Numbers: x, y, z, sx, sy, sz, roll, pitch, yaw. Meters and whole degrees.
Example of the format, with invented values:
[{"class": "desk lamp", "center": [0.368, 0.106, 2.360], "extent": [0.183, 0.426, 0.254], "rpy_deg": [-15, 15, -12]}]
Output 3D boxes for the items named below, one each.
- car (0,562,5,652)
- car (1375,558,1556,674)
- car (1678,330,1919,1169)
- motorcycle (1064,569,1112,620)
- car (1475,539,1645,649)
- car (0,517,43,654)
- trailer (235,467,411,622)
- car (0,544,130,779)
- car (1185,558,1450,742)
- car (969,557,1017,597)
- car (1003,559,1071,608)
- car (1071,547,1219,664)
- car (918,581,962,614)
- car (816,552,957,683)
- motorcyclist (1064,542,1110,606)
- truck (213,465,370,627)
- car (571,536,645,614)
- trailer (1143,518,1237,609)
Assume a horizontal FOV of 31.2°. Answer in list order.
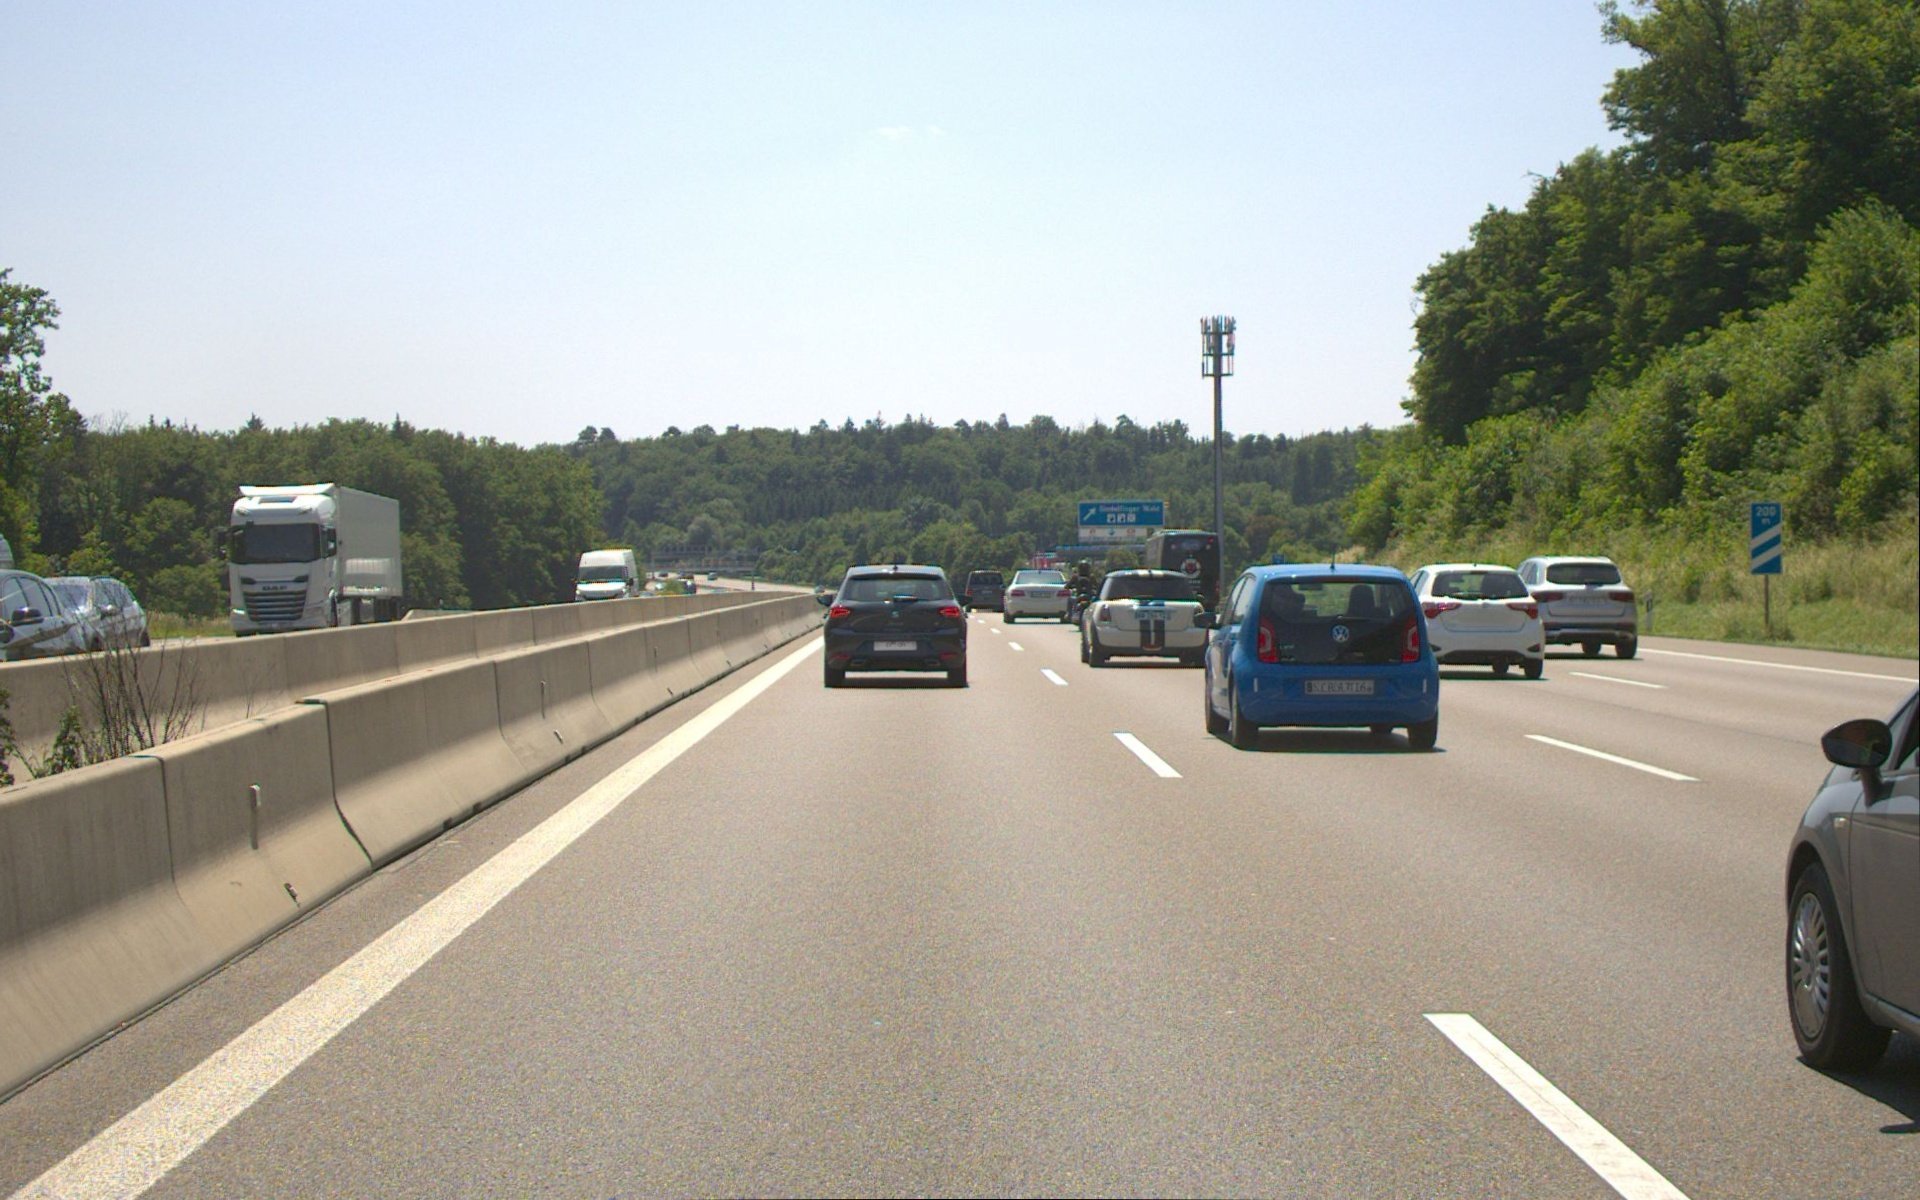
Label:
[{"class": "car", "center": [-15.825, 0.154, 51.818], "extent": [1.667, 1.402, 4.440], "rpy_deg": [-1, 1, -1]}, {"class": "car", "center": [6.716, 0.177, 46.066], "extent": [1.666, 1.428, 4.376], "rpy_deg": [-1, 1, -1]}, {"class": "car", "center": [3.324, 0.366, 8.699], "extent": [1.961, 2.046, 4.784], "rpy_deg": [1, 1, 0]}, {"class": "motorcycle", "center": [2.945, -0.130, 79.478], "extent": [0.977, 1.125, 2.271], "rpy_deg": [-1, 1, -1]}, {"class": "car", "center": [9.856, -0.125, 56.865], "extent": [1.801, 1.725, 5.239], "rpy_deg": [1, 1, -1]}, {"class": "car", "center": [-19.686, -0.235, 66.345], "extent": [2.140, 2.654, 6.780], "rpy_deg": [-2, 1, -1]}, {"class": "trailer", "center": [-17.896, -1.528, 97.546], "extent": [2.925, 4.070, 13.841], "rpy_deg": [0, 1, -2]}, {"class": "car", "center": [-8.189, 0.443, 27.874], "extent": [1.871, 1.771, 4.469], "rpy_deg": [-1, 1, -1]}, {"class": "car", "center": [2.882, 0.384, 28.454], "extent": [1.737, 1.406, 4.000], "rpy_deg": [0, 0, 0]}, {"class": "car", "center": [1.555, -1.084, 163.940], "extent": [2.097, 1.845, 4.081], "rpy_deg": [-1, 0, -1]}, {"class": "car", "center": [2.089, -0.458, 94.215], "extent": [1.782, 1.261, 3.460], "rpy_deg": [-1, 1, 0]}, {"class": "car", "center": [2.643, 0.112, 49.969], "extent": [1.841, 1.547, 4.000], "rpy_deg": [3, -1, 0]}, {"class": "car", "center": [-1.065, -0.126, 180.521], "extent": [1.993, 1.678, 4.424], "rpy_deg": [1, 1, -5]}, {"class": "car", "center": [-0.865, 0.175, 41.521], "extent": [1.624, 1.482, 3.685], "rpy_deg": [0, 1, 0]}, {"class": "motorcyclist", "center": [2.931, -0.601, 79.454], "extent": [0.962, 1.433, 1.235], "rpy_deg": [-2, 0, -1]}, {"class": "truck", "center": [-17.622, -1.431, 91.125], "extent": [2.894, 4.055, 7.790], "rpy_deg": [-1, 1, -3]}, {"class": "car", "center": [-13.486, -0.949, 132.117], "extent": [2.085, 2.790, 7.603], "rpy_deg": [-3, 0, -1]}, {"class": "trailer", "center": [10.072, -1.529, 151.790], "extent": [2.857, 3.675, 13.542], "rpy_deg": [-1, -1, -1]}]
